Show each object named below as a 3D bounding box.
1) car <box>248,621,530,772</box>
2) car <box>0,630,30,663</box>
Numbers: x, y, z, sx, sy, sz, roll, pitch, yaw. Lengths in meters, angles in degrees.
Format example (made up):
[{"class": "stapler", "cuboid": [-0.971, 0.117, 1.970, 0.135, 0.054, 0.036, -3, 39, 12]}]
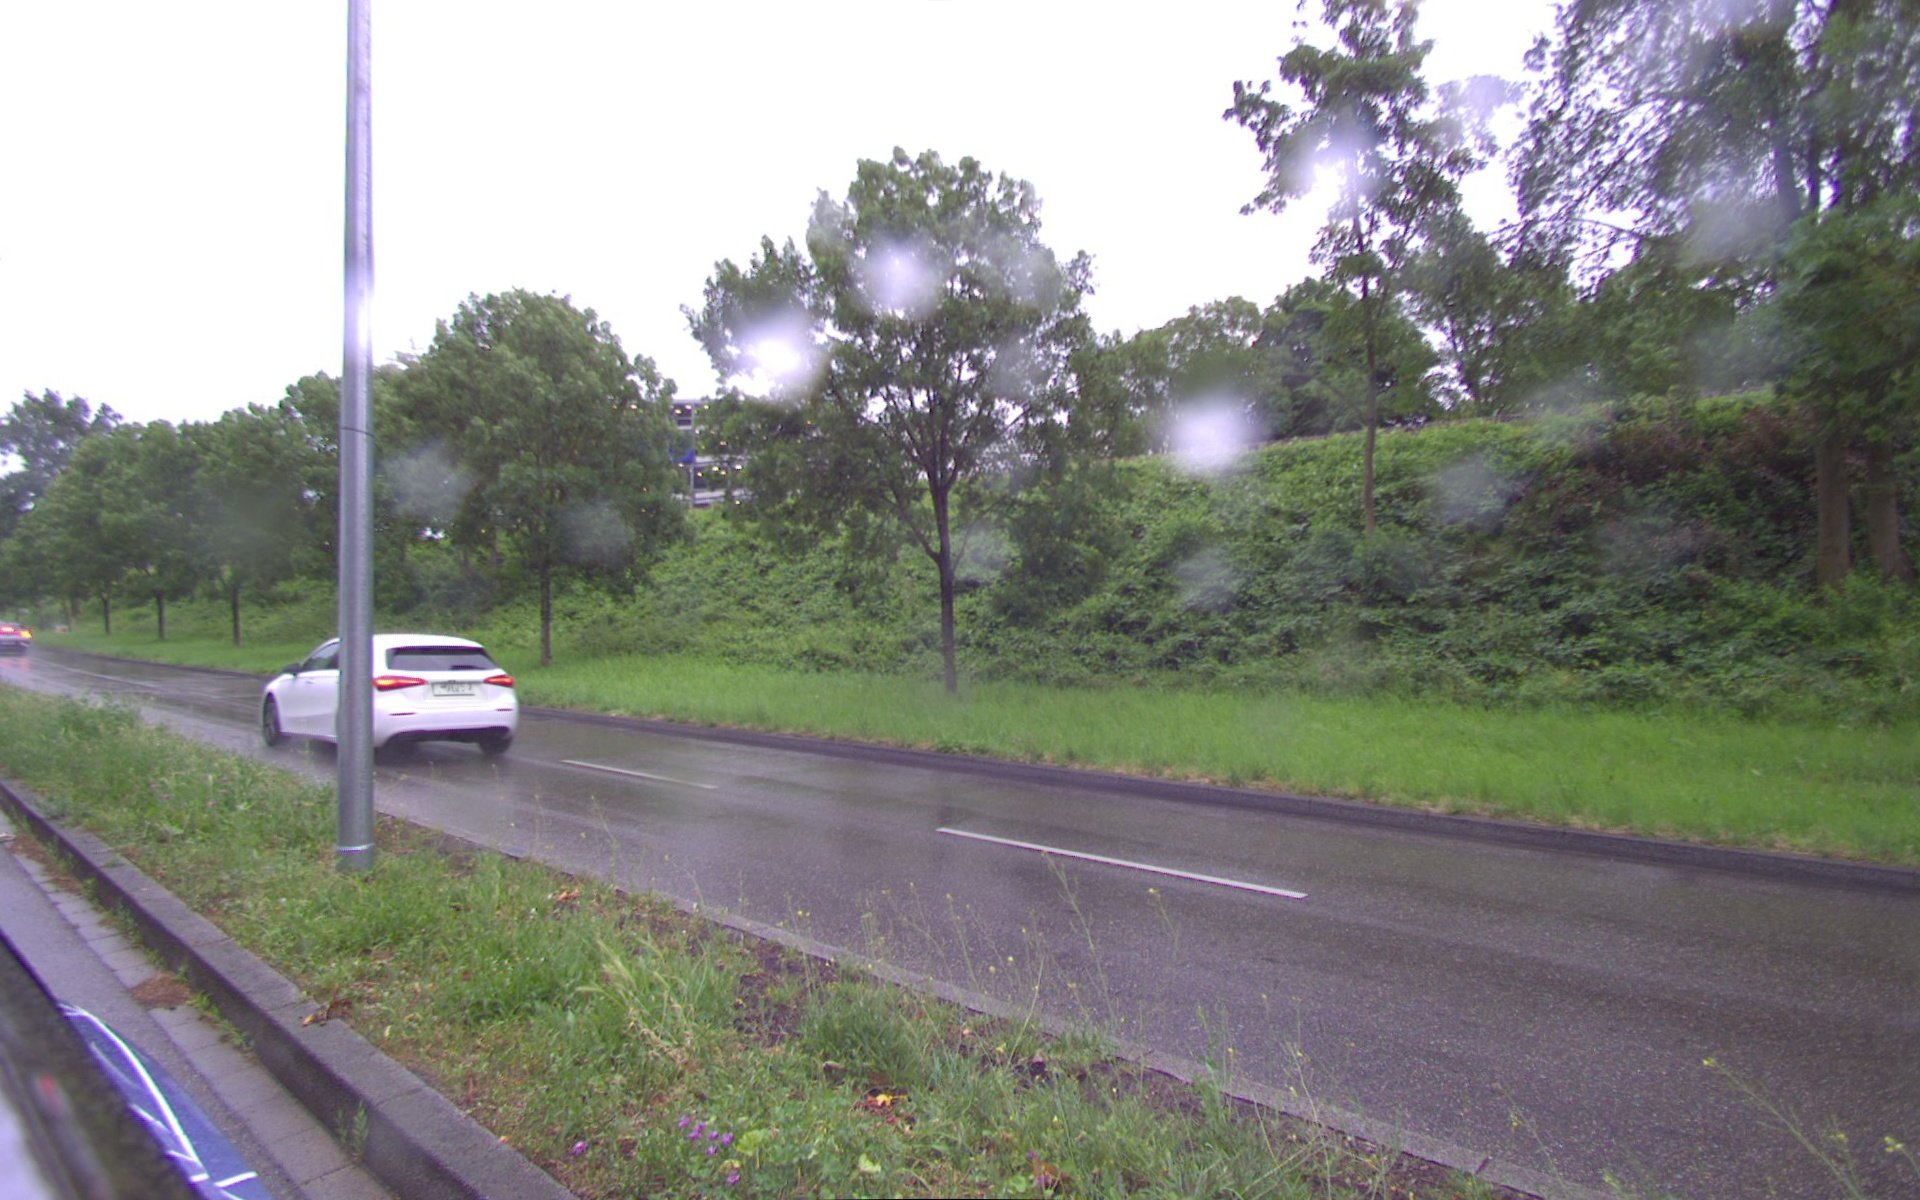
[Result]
[{"class": "car", "cuboid": [-7.154, 1.081, 12.525, 4.045, 1.531, 1.716, 0, -4, 41]}, {"class": "car", "cuboid": [-46.072, 2.189, 48.344, 4.299, 1.531, 1.867, -2, -4, 41]}]
